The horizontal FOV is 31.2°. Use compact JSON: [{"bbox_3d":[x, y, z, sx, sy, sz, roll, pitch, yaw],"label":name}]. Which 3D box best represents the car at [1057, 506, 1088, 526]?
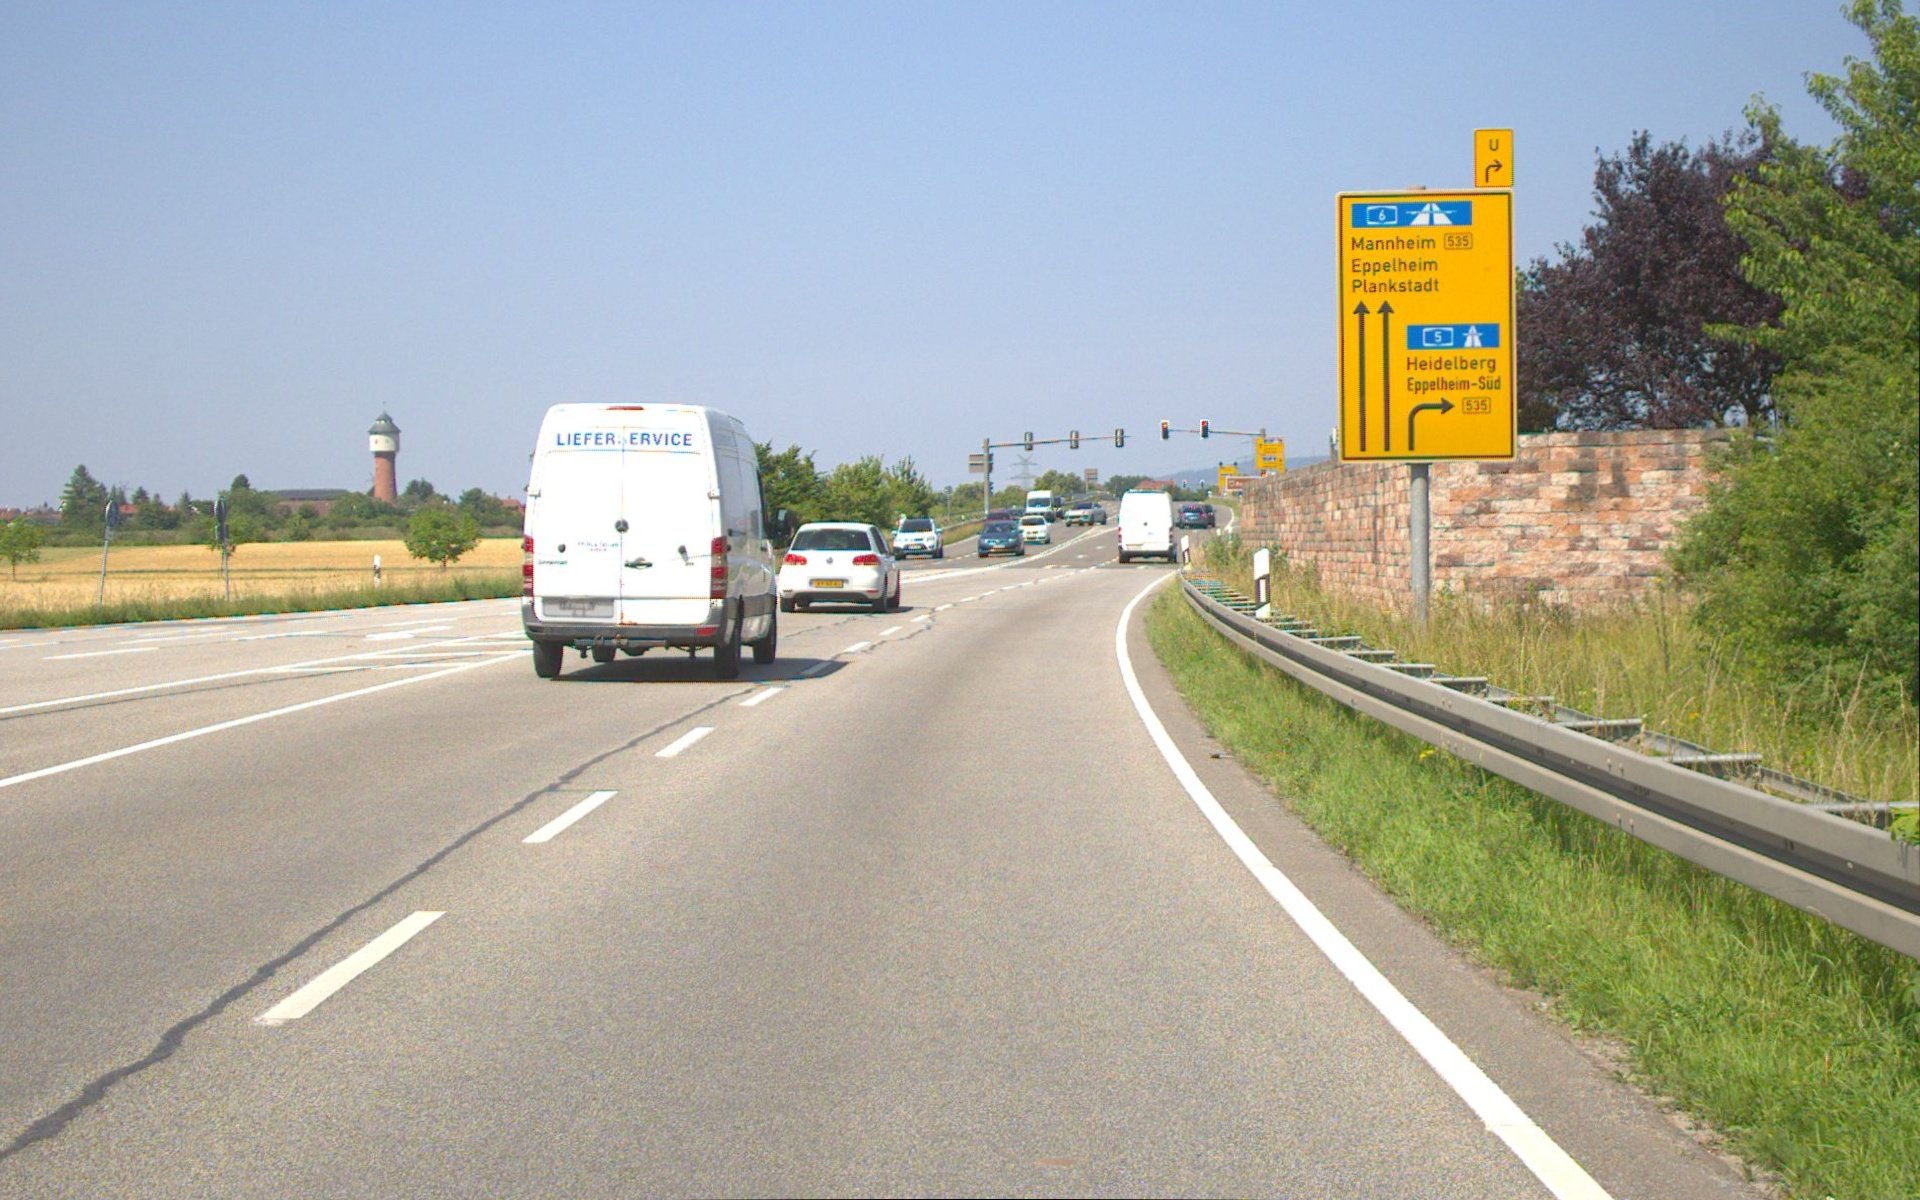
[{"bbox_3d":[8.039,-6.012,245.783,1.858,1.418,3.999,-1,1,6],"label":"car"}]

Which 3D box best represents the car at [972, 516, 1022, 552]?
[{"bbox_3d":[1.537,-2.748,141.954,1.749,1.437,4.081,-1,1,5],"label":"car"}]

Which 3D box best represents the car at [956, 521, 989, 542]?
[{"bbox_3d":[0.772,-4.225,212.001,1.870,1.251,4.281,1,1,2],"label":"car"}]

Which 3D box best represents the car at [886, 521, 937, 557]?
[{"bbox_3d":[-2.026,-2.585,144.937,1.749,1.437,4.081,-1,1,5],"label":"car"}]

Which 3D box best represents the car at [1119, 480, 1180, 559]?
[{"bbox_3d":[6.801,-2.864,123.245,1.994,2.686,4.969,1,0,5],"label":"car"}]

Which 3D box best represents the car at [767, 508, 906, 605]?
[{"bbox_3d":[-2.018,-0.754,57.341,1.800,1.503,4.196,-1,2,5],"label":"car"}]

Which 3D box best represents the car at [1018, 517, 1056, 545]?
[{"bbox_3d":[4.004,-3.563,178.199,1.749,1.437,4.081,1,1,4],"label":"car"}]

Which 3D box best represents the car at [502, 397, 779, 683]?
[{"bbox_3d":[-3.106,-0.632,34.657,2.039,2.611,5.741,1,2,2],"label":"car"}]

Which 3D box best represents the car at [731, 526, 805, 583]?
[{"bbox_3d":[-5.805,-1.400,104.366,1.665,1.671,4.462,-1,1,4],"label":"car"}]
